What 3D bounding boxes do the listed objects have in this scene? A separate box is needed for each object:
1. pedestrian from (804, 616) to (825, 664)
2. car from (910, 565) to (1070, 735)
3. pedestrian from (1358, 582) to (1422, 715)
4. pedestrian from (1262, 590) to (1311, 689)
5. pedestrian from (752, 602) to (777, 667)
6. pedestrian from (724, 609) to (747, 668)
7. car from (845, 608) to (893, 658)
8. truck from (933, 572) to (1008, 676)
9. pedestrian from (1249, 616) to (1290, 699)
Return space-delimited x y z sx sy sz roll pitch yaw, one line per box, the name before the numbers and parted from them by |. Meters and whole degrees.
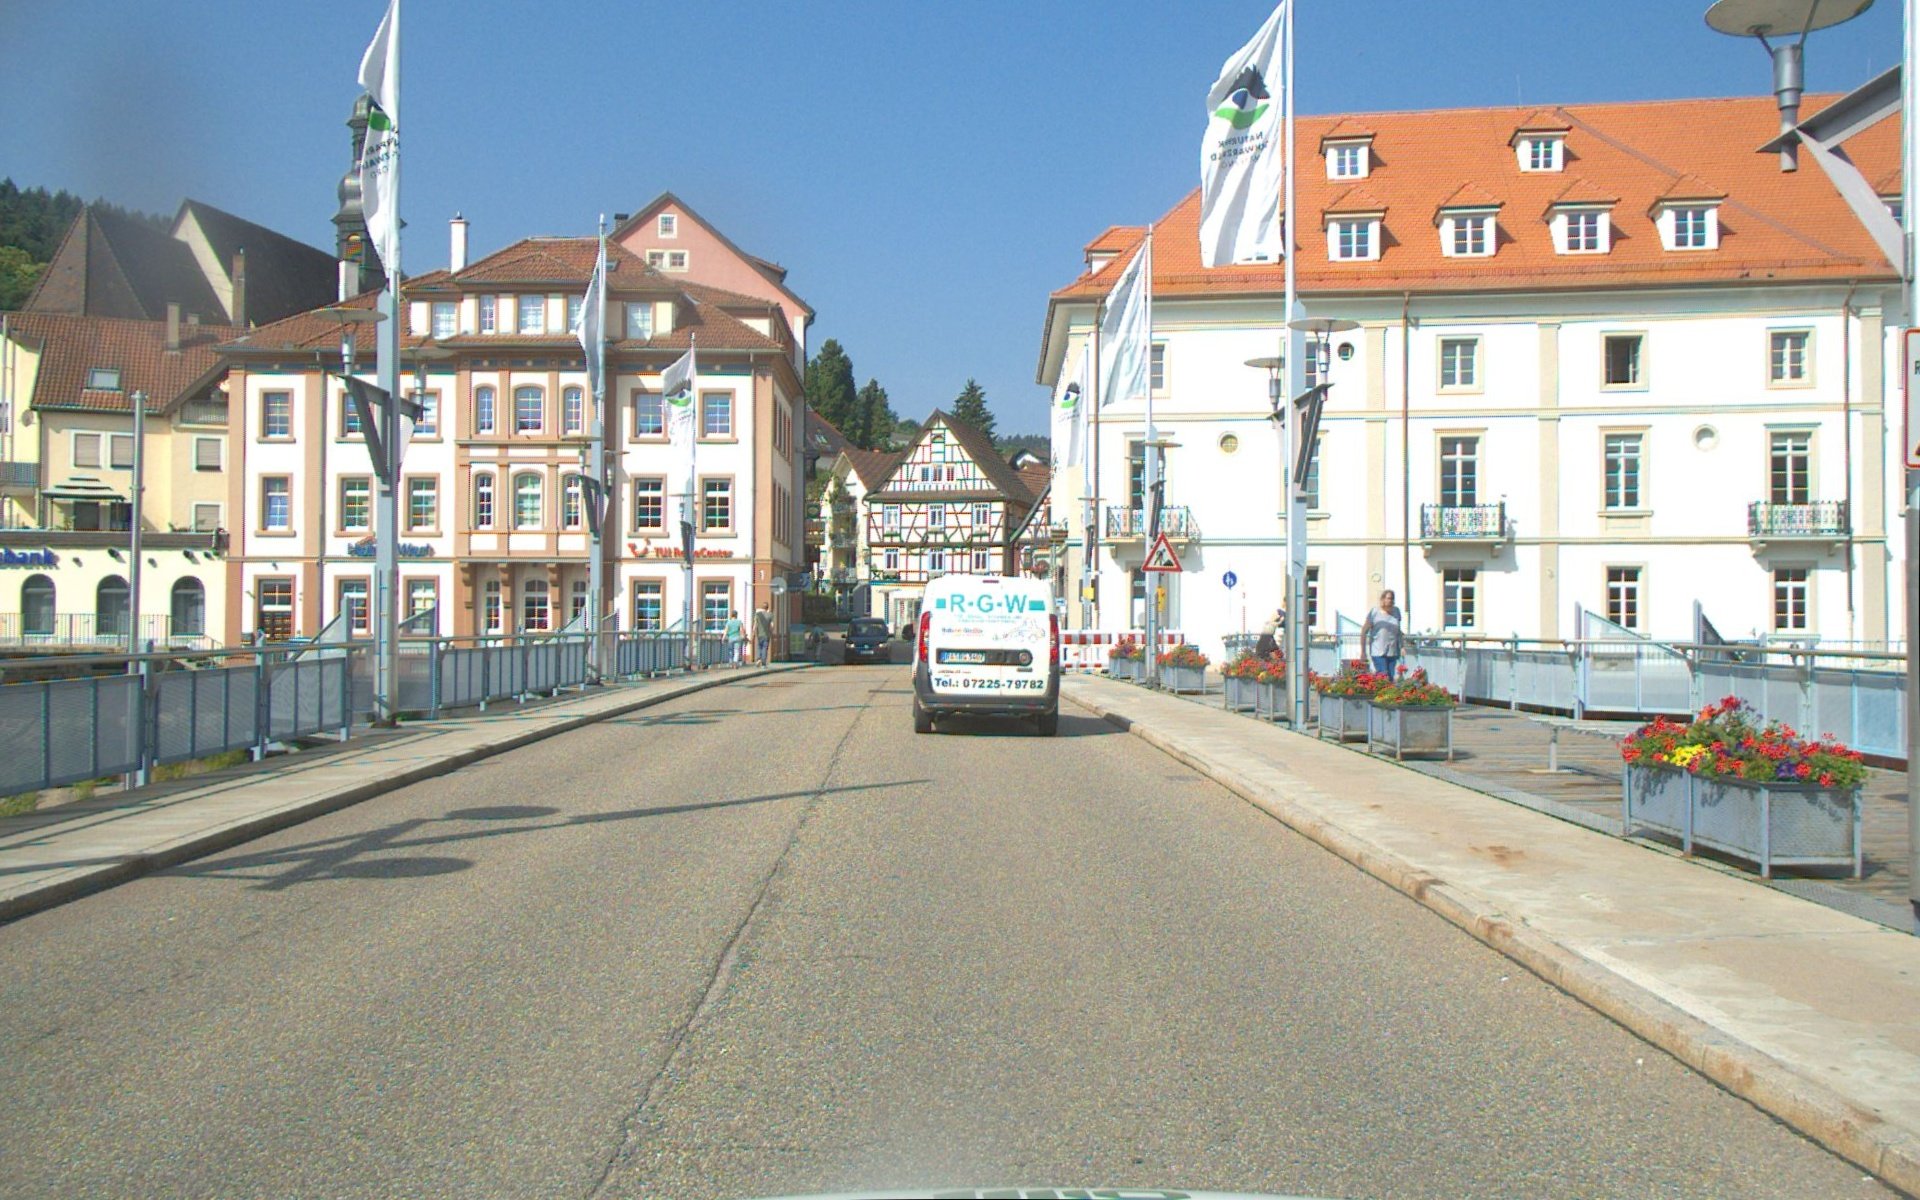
pedestrian | -5.862 1.612 66.497 0.788 1.890 0.615 0 0 -9
car | 0.281 0.602 21.164 1.807 1.939 4.312 1 -1 -2
pedestrian | 5.377 0.599 20.699 0.652 1.647 0.563 0 0 -2
pedestrian | 5.895 0.705 29.879 0.711 1.753 0.747 0 0 -2
pedestrian | -5.546 0.968 46.888 0.602 1.793 0.863 1 0 -3
pedestrian | -6.376 1.084 46.959 0.572 1.638 0.537 1 0 -3
car | -3.471 1.243 63.656 1.741 1.824 4.694 1 0 -3
truck | 0.239 0.646 44.207 1.824 2.631 4.258 0 -1 -2
pedestrian | 4.749 0.877 25.414 0.443 1.266 0.625 0 -1 -6
